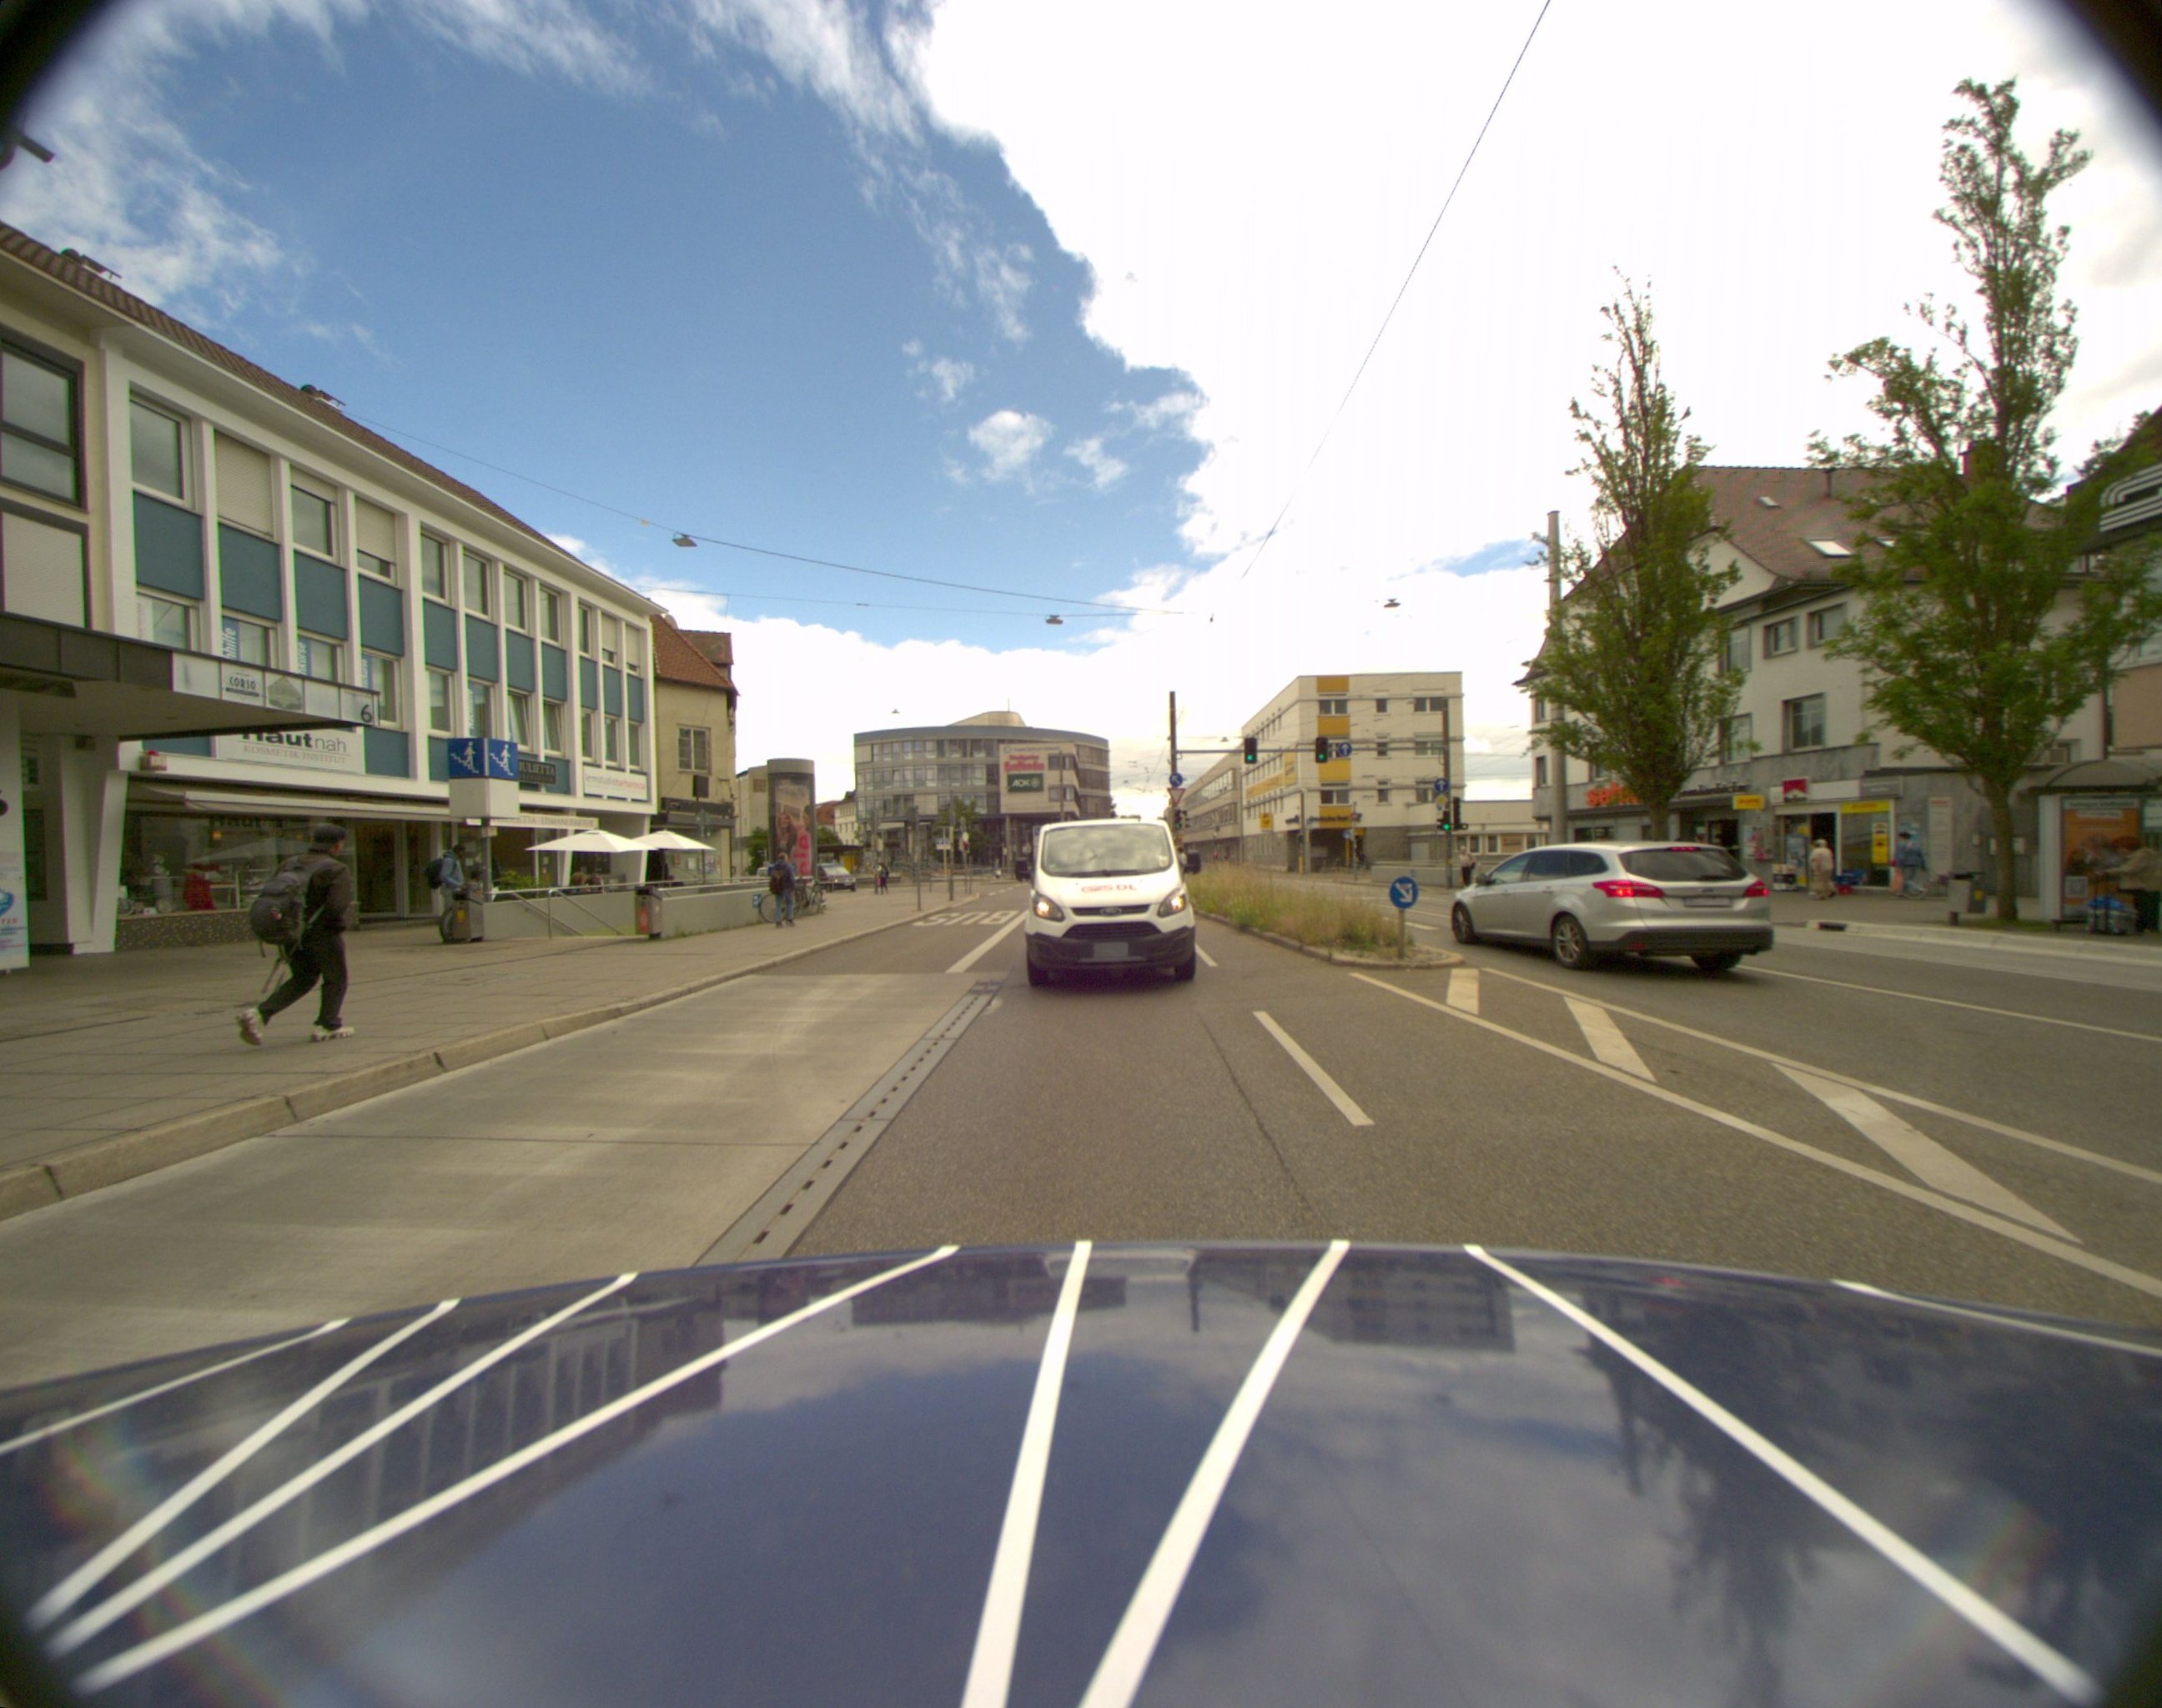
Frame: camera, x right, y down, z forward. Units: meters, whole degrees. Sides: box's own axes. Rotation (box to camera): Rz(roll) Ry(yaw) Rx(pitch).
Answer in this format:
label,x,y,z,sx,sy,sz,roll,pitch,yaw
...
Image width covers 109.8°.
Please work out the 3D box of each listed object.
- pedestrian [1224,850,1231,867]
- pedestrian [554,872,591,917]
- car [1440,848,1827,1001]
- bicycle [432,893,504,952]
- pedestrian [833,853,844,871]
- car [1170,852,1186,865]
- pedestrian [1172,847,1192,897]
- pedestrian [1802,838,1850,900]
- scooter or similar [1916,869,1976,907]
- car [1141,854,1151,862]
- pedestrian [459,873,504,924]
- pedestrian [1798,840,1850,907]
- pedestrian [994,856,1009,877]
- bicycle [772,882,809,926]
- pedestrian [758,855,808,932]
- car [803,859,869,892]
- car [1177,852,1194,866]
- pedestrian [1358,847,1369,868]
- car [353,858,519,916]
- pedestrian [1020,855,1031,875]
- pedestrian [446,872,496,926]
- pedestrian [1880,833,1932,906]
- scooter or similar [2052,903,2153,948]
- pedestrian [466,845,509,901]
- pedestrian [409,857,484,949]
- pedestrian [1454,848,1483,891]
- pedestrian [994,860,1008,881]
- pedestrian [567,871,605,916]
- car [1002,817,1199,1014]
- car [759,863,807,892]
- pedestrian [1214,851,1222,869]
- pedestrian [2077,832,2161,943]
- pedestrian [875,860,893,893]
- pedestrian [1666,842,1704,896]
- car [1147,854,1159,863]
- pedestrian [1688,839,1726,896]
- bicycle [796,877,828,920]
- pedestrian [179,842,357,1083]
label,x,y,z,sx,sy,sz,roll,pitch,yaw
pedestrian,16.390,0.496,84.868,0.587,1.792,0.526,-4,0,2
pedestrian,-14.015,1.098,20.937,0.614,1.213,0.588,0,0,0
car,6.447,0.688,9.646,1.878,1.497,4.344,0,0,2
bicycle,-11.247,1.227,13.974,0.274,0.968,1.387,-1,0,-5
pedestrian,-23.764,0.766,74.458,0.613,1.733,0.697,-4,0,38
car,15.690,0.731,123.051,1.999,2.002,4.486,-2,0,0
pedestrian,3.334,0.594,25.169,0.504,1.625,0.663,-1,0,-4
pedestrian,20.236,0.400,20.647,0.587,1.625,0.615,-4,0,0
scooter or similar,20.137,0.792,17.706,0.593,0.843,0.702,-1,0,1
car,14.657,0.915,170.772,2.074,1.728,4.694,1,0,3
pedestrian,-14.822,1.101,18.800,0.614,1.213,0.588,-2,0,0
pedestrian,18.690,0.477,19.125,0.587,1.625,0.615,-4,0,0
pedestrian,-6.438,0.986,61.432,0.847,1.625,0.644,-4,0,-31
bicycle,-7.078,1.203,18.537,0.274,0.968,1.387,-1,0,3
pedestrian,-6.443,0.839,16.465,0.689,1.625,0.853,-1,0,1
car,-15.376,1.331,47.482,1.884,1.884,4.914,-2,1,-44
car,16.013,0.713,116.849,1.999,2.002,4.486,-2,0,0
pedestrian,21.135,0.263,56.915,0.587,1.625,0.615,-1,0,2
car,-20.706,1.039,24.466,3.974,1.656,1.736,-2,0,5
pedestrian,-4.545,0.894,62.665,0.589,1.625,0.525,-4,0,-43
pedestrian,-14.517,1.068,18.086,0.614,1.213,0.588,-4,0,0
pedestrian,19.877,0.371,18.315,0.587,1.702,0.615,-1,1,0
scooter or similar,15.606,1.084,11.621,0.593,0.598,0.702,-1,0,1
pedestrian,-16.134,0.509,20.670,0.614,1.452,0.588,-4,0,1
pedestrian,-11.621,0.876,13.944,0.668,1.625,0.800,-1,0,-1
pedestrian,15.241,0.610,29.889,0.702,1.625,0.614,-4,0,-9
pedestrian,-6.341,1.282,60.255,0.808,1.637,0.886,-2,0,-32
pedestrian,-14.044,1.100,21.567,0.614,1.213,0.588,-4,0,0
car,0.417,0.656,10.440,1.998,2.002,5.001,-2,0,5
car,-21.529,1.670,54.770,1.884,1.884,4.915,-2,0,-37
pedestrian,13.730,0.599,76.343,0.587,1.792,0.526,-4,0,2
pedestrian,16.184,0.504,11.774,0.588,1.642,0.713,-2,0,-16
pedestrian,-10.039,1.142,38.732,0.589,1.612,0.743,-4,0,-30
pedestrian,18.773,0.470,23.619,0.587,1.625,0.615,-4,0,0
car,14.096,0.889,149.204,2.074,1.728,4.694,1,0,3
pedestrian,19.536,0.420,23.719,0.587,1.702,0.615,-4,0,0
bicycle,-7.076,1.161,20.031,0.274,1.047,1.387,-1,0,3
pedestrian,-5.941,0.758,5.583,0.613,1.668,0.615,-1,0,4
